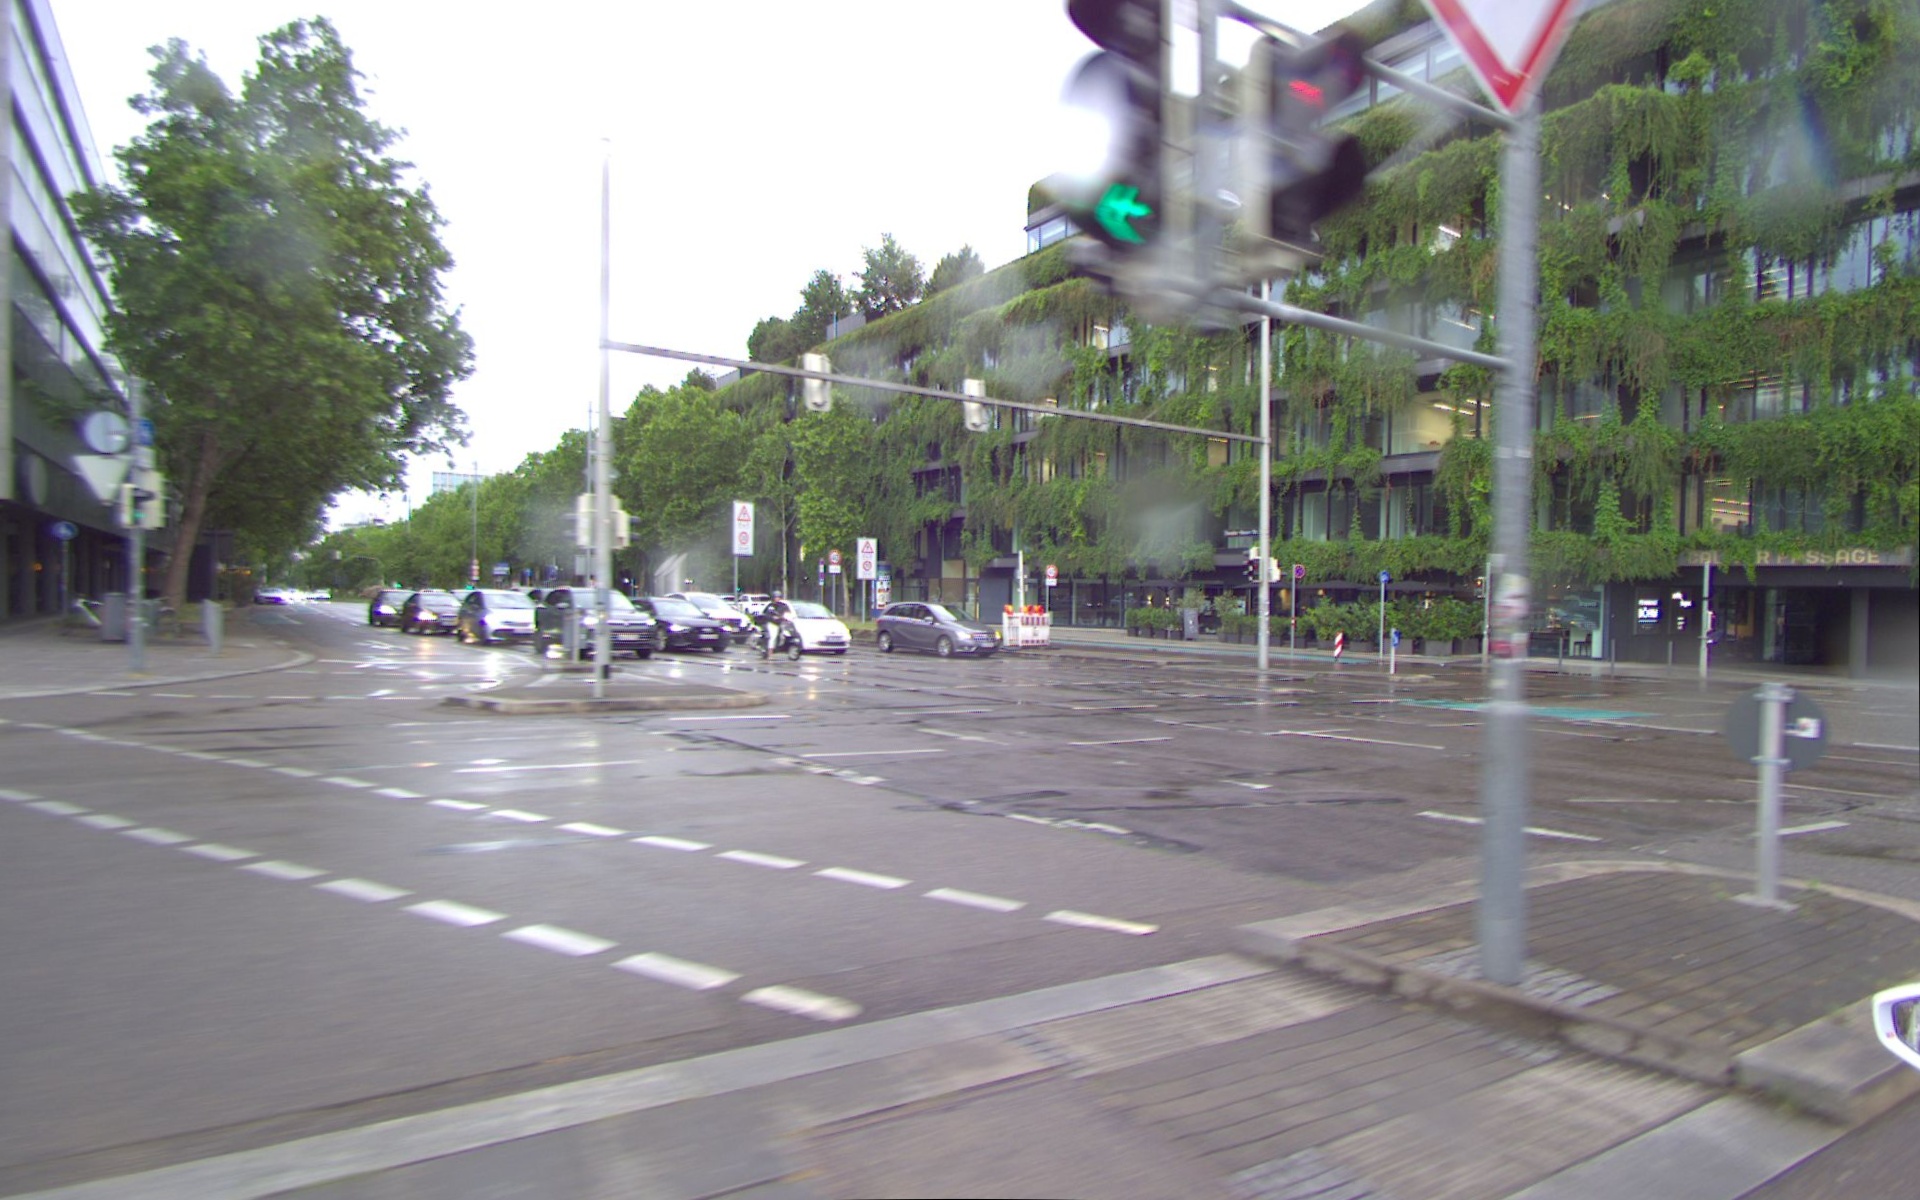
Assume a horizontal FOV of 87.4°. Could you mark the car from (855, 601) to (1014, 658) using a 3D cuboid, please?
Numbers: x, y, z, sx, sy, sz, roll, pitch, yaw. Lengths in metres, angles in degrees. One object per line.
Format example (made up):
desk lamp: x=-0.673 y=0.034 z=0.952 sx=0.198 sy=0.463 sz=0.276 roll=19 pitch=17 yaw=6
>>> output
car: x=-0.832 y=0.837 z=29.935 sx=4.842 sy=1.508 sz=1.922 roll=1 pitch=0 yaw=45

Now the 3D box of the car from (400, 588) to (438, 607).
car: x=-47.482 y=-0.245 z=88.090 sx=1.919 sy=1.508 sz=4.849 roll=2 pitch=0 yaw=-41

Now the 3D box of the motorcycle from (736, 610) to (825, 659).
motorcycle: x=-4.424 y=0.821 z=24.602 sx=2.331 sy=1.068 sz=0.830 roll=2 pitch=0 yaw=41

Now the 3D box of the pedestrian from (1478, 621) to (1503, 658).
pedestrian: x=19.768 y=1.466 z=37.410 sx=0.593 sy=1.328 sz=0.609 roll=2 pitch=0 yaw=-35

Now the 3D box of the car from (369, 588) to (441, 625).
car: x=-22.466 y=0.230 z=40.591 sx=1.982 sy=1.389 sz=4.131 roll=2 pitch=0 yaw=-37

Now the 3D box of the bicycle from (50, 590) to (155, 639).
bicycle: x=-19.775 y=0.339 z=23.217 sx=1.765 sy=1.066 sz=0.581 roll=2 pitch=0 yaw=-35

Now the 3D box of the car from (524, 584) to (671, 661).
car: x=-8.975 y=0.496 z=24.670 sx=1.984 sy=1.709 sz=4.314 roll=2 pitch=0 yaw=-41

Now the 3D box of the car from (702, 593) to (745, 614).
car: x=-18.293 y=0.281 z=77.627 sx=1.785 sy=1.442 sz=3.958 roll=3 pitch=0 yaw=-36

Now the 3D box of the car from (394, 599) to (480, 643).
car: x=-18.344 y=0.706 z=35.173 sx=1.982 sy=1.389 sz=4.131 roll=2 pitch=0 yaw=-37

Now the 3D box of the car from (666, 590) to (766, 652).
car: x=-8.191 y=0.666 z=33.473 sx=1.978 sy=1.923 sz=4.139 roll=2 pitch=0 yaw=-32

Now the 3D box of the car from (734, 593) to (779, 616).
car: x=-14.753 y=0.313 z=72.792 sx=1.783 sy=1.588 sz=3.962 roll=2 pitch=0 yaw=-34

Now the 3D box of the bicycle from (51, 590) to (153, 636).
bicycle: x=-20.431 y=0.318 z=23.964 sx=1.765 sy=1.066 sz=0.581 roll=2 pitch=0 yaw=-35

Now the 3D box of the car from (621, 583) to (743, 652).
car: x=-7.844 y=0.453 z=28.087 sx=1.981 sy=1.773 sz=3.958 roll=2 pitch=0 yaw=-36

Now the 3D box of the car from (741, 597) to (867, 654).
car: x=-4.578 y=0.712 z=28.996 sx=1.981 sy=1.494 sz=3.958 roll=2 pitch=0 yaw=-36

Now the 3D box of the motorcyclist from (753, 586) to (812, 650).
motorcyclist: x=-4.339 y=0.430 z=24.539 sx=1.153 sy=1.492 sz=0.832 roll=2 pitch=0 yaw=40

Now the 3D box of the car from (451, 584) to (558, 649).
car: x=-13.466 y=0.448 z=29.578 sx=1.982 sy=1.773 sz=3.956 roll=2 pitch=0 yaw=-38

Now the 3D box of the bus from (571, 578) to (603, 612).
bus: x=-39.352 y=-0.558 z=105.815 sx=1.783 sy=3.385 sz=5.922 roll=2 pitch=0 yaw=-34
